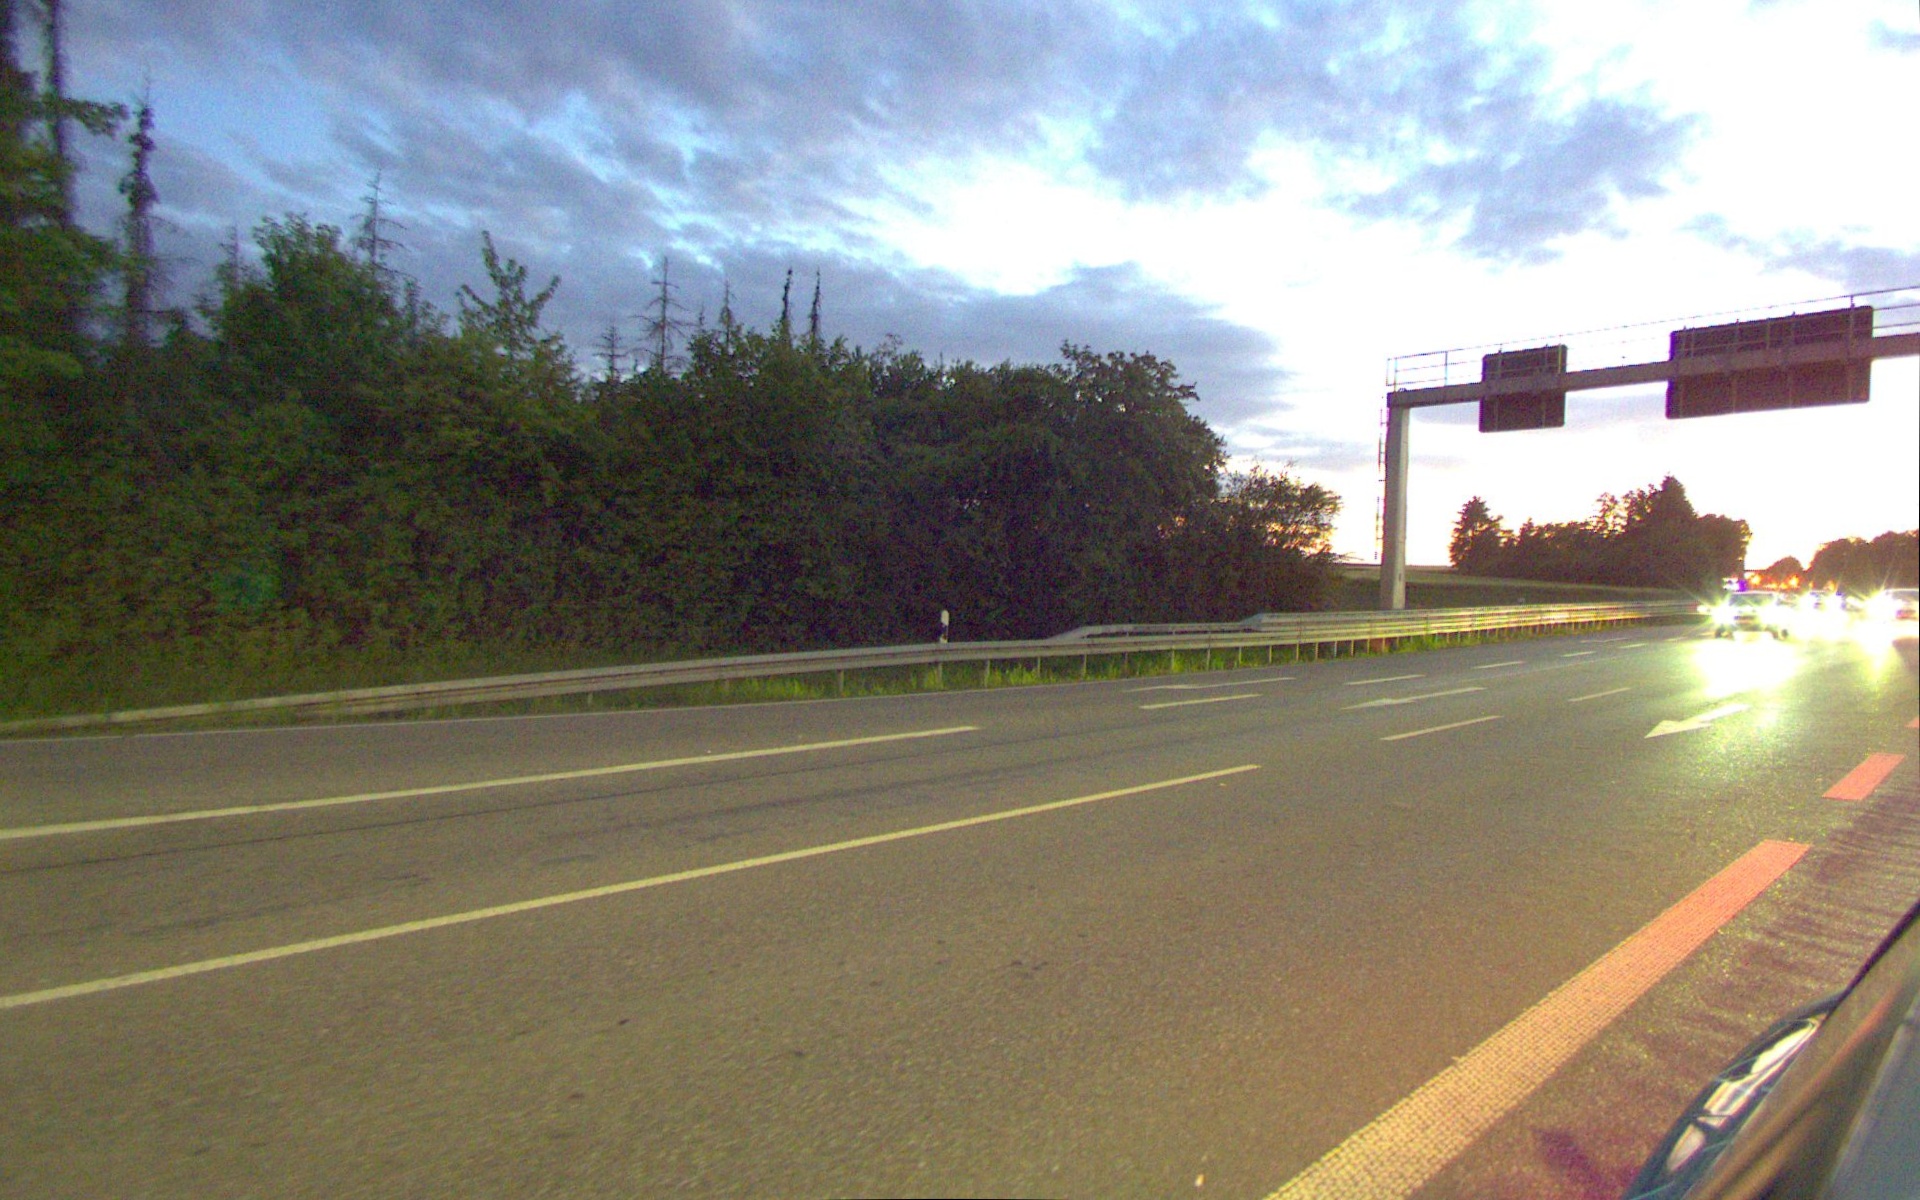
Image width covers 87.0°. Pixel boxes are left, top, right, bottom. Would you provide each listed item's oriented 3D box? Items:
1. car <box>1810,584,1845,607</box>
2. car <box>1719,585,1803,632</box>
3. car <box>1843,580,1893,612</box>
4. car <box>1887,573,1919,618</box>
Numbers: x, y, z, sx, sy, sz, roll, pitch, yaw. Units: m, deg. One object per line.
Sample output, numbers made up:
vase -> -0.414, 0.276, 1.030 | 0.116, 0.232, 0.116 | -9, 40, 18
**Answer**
car -> 64.889, -0.357, 75.740 | 1.848, 1.642, 3.943 | 0, 0, 39
car -> 28.801, 0.269, 36.353 | 1.993, 1.604, 3.937 | -1, 0, 44
car -> 51.131, -0.219, 57.056 | 1.824, 1.772, 3.796 | -1, -1, 39
car -> 44.732, -0.224, 47.404 | 1.857, 2.039, 3.938 | -1, 0, 43
